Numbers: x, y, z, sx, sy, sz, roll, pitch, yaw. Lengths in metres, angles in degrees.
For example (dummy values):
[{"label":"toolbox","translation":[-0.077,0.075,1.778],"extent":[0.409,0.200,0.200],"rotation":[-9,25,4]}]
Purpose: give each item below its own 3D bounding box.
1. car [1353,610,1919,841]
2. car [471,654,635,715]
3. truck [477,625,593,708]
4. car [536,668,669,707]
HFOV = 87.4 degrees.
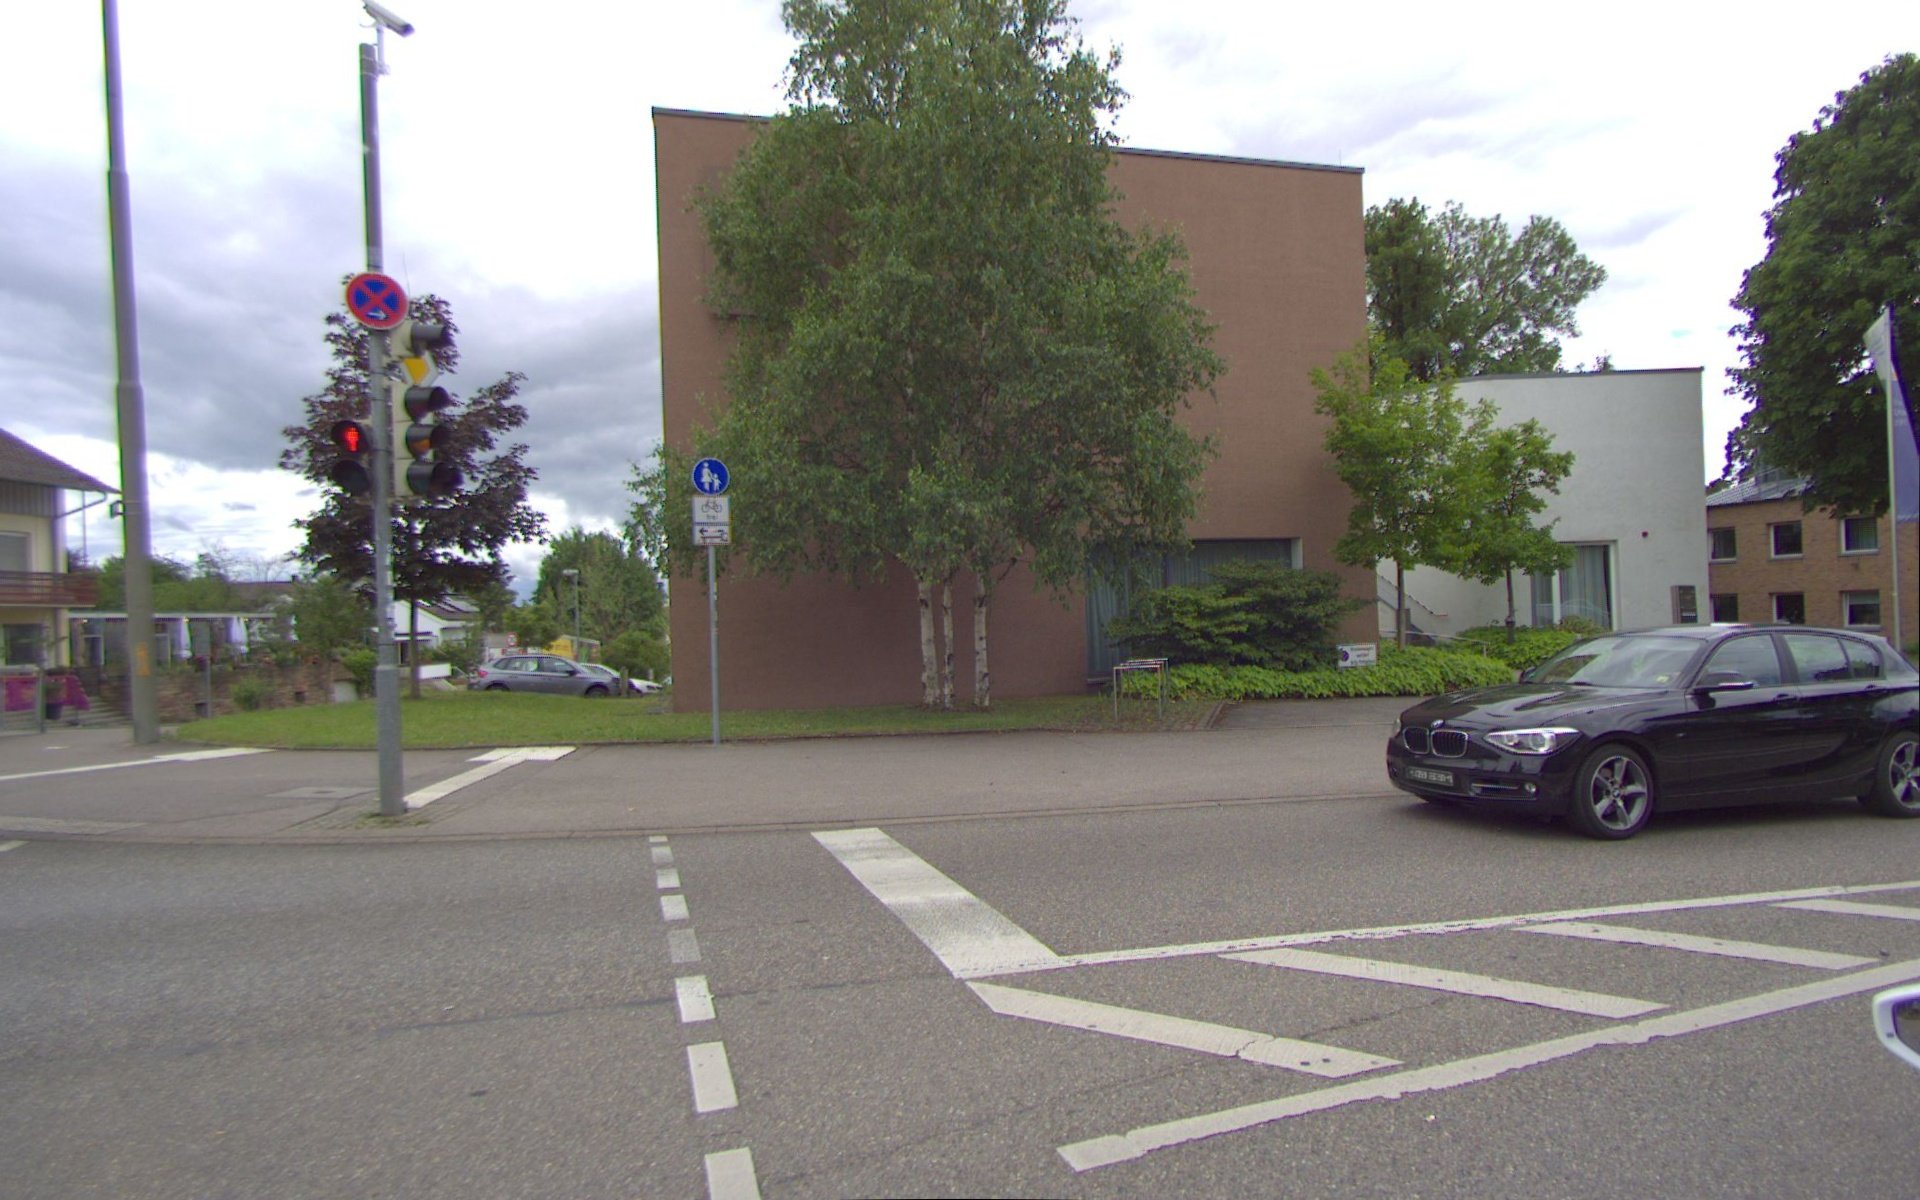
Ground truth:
[{"label":"car","translation":[5.294,0.845,7.698],"extent":[3.932,1.426,1.764],"rotation":[0,-3,-14]},{"label":"car","translation":[-11.234,2.317,27.957],"extent":[3.934,1.541,1.783],"rotation":[0,-2,-11]},{"label":"truck","translation":[-21.416,3.448,51.250],"extent":[2.963,3.846,8.312],"rotation":[0,-5,-5]},{"label":"car","translation":[-11.391,2.778,32.235],"extent":[3.777,1.105,1.783],"rotation":[0,-2,-11]}]
